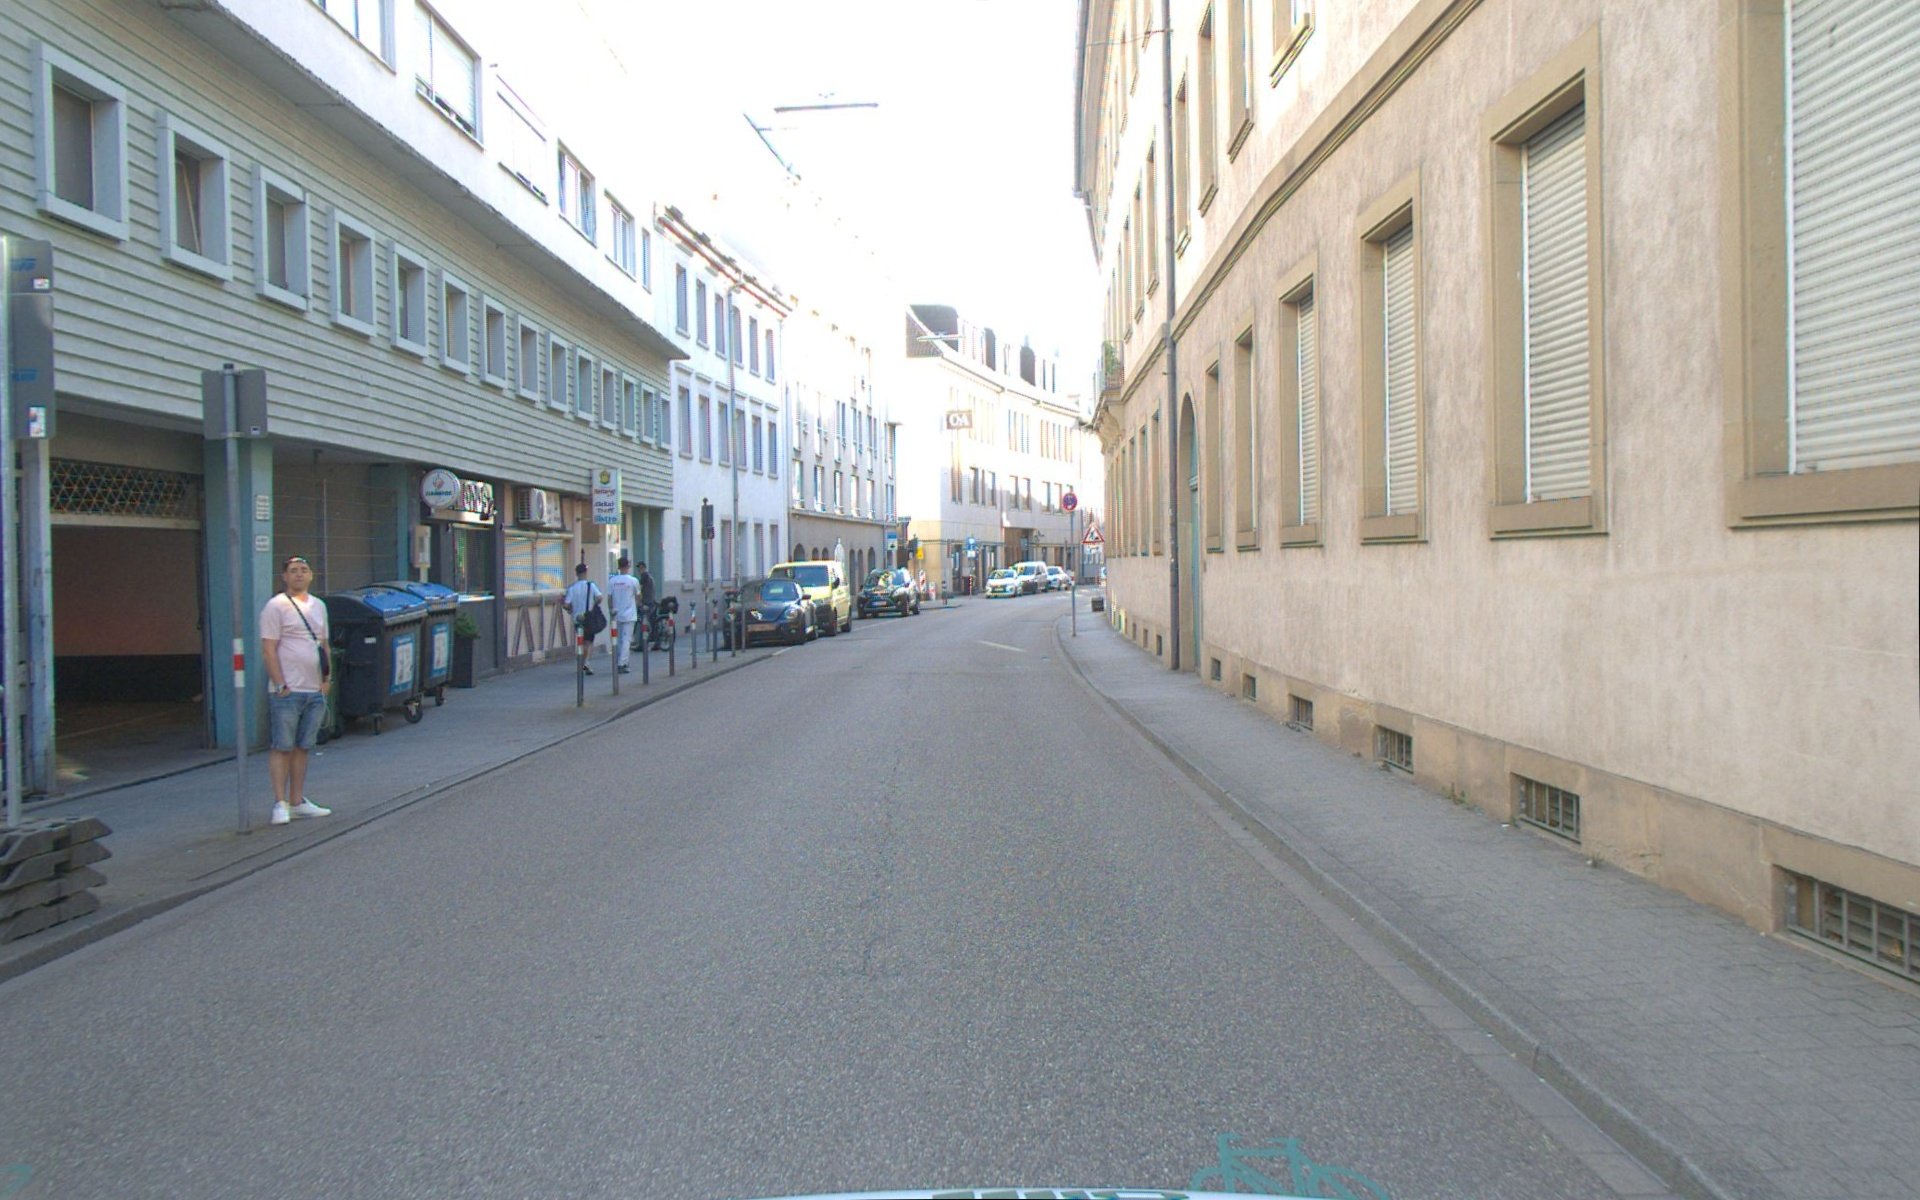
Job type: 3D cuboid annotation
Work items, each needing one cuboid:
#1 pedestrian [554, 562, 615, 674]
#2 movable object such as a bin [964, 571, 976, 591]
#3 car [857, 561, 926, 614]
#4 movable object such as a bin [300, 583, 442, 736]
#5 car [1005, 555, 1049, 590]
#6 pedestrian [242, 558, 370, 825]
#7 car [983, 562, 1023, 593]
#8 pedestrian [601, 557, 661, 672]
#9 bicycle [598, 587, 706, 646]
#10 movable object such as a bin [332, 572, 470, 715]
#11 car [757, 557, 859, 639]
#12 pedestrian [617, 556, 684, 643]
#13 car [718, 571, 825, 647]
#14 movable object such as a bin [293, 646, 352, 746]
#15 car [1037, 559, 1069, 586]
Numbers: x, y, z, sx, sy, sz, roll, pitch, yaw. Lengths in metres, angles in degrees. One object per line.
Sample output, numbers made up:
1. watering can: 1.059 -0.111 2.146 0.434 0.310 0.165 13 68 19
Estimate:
1. pedestrian: -5.898 0.269 26.014 0.658 1.698 0.895 -2 1 2
2. movable object such as a bin: 0.561 -1.033 91.426 0.596 1.079 0.714 1 1 6
3. car: -2.428 -0.481 59.628 1.703 1.740 4.194 -4 1 7
4. movable object such as a bin: -6.288 0.602 17.741 0.949 1.497 1.475 -1 3 0
5. car: 3.903 -1.608 95.675 1.635 1.850 4.556 -2 1 14
6. pedestrian: -4.325 0.581 10.943 0.485 1.698 0.624 2 1 43
7. car: 2.376 -1.241 89.976 1.635 1.533 3.797 -3 1 9
8. pedestrian: -5.191 0.216 26.128 0.683 1.764 0.829 -2 1 2
9. bicycle: -6.357 0.340 34.151 2.086 1.183 0.823 -1 1 24
10. movable object such as a bin: -6.480 0.475 19.247 1.099 1.546 1.342 -1 2 0
11. car: -3.897 -0.111 43.222 1.841 1.899 4.867 -4 1 3
12. pedestrian: -6.394 -0.007 34.159 1.056 1.758 0.802 -1 1 24
13. car: -4.241 0.156 37.739 1.781 1.511 4.078 -4 1 1
14. movable object such as a bin: -6.455 0.965 16.752 0.385 0.958 0.467 -1 1 0
15. car: 5.751 -1.711 101.654 1.244 1.533 3.405 -2 1 15
